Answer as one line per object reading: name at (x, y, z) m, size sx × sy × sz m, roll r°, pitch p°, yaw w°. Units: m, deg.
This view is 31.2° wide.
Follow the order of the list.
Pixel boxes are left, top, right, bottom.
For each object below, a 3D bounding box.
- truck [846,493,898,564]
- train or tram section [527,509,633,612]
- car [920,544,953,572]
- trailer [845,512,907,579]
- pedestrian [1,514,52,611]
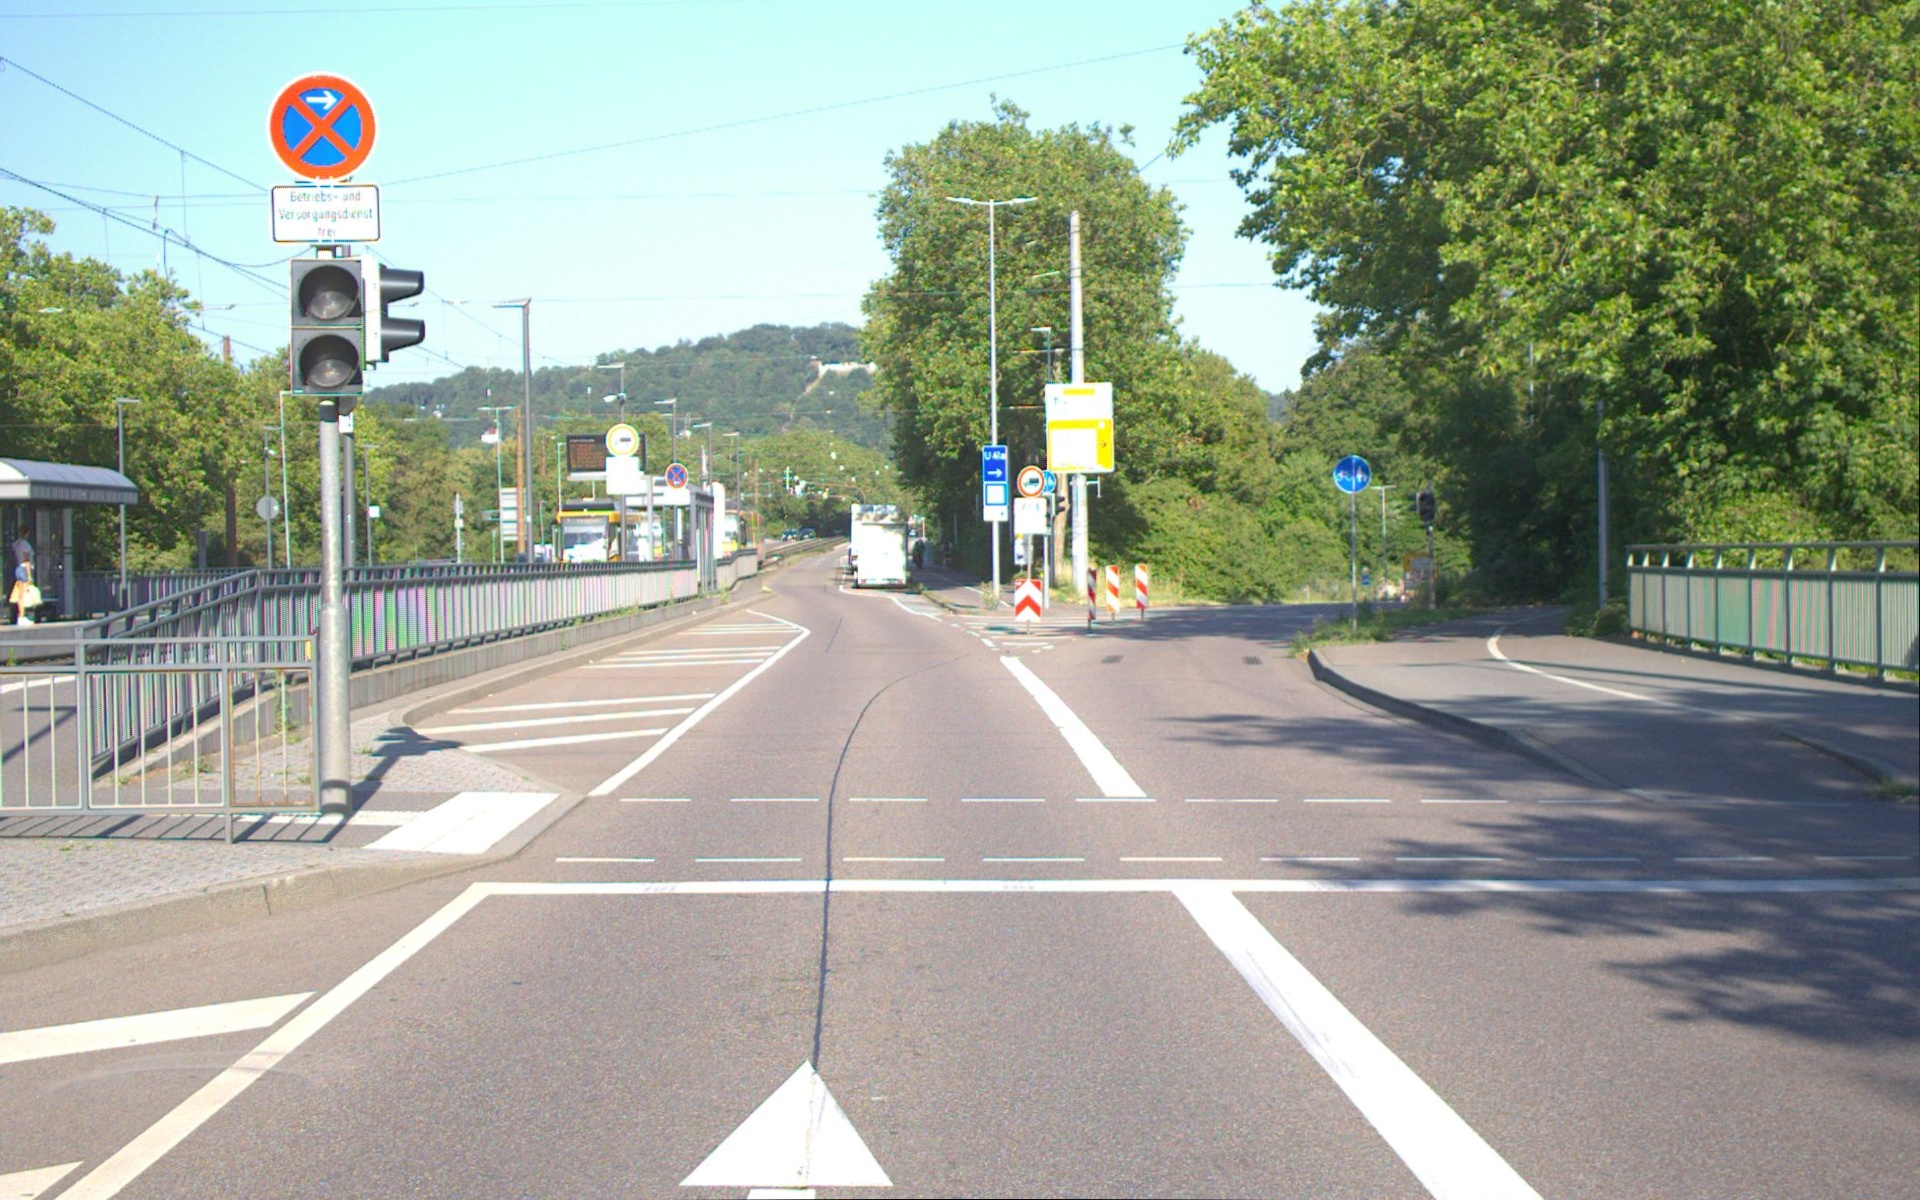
truck at (-4.892, -3.931, 189.237) m, size 2.741 × 3.770 × 10.090 m, roll 1°, pitch 1°, yaw -2°
train or tram section at (-15.557, -1.674, 141.980) m, size 2.827 × 3.992 × 15.876 m, roll 0°, pitch 1°, yaw -1°
car at (-1.192, -2.157, 175.645) m, size 1.653 × 1.432 × 3.777 m, roll -1°, pitch 1°, yaw 0°
trailer at (-3.432, -2.253, 141.476) m, size 2.251 × 2.685 × 5.947 m, roll 0°, pitch 1°, yaw 1°
pedestrian at (-16.908, -0.682, 62.269) m, size 0.700 × 1.751 × 0.587 m, roll 0°, pitch 1°, yaw 35°
